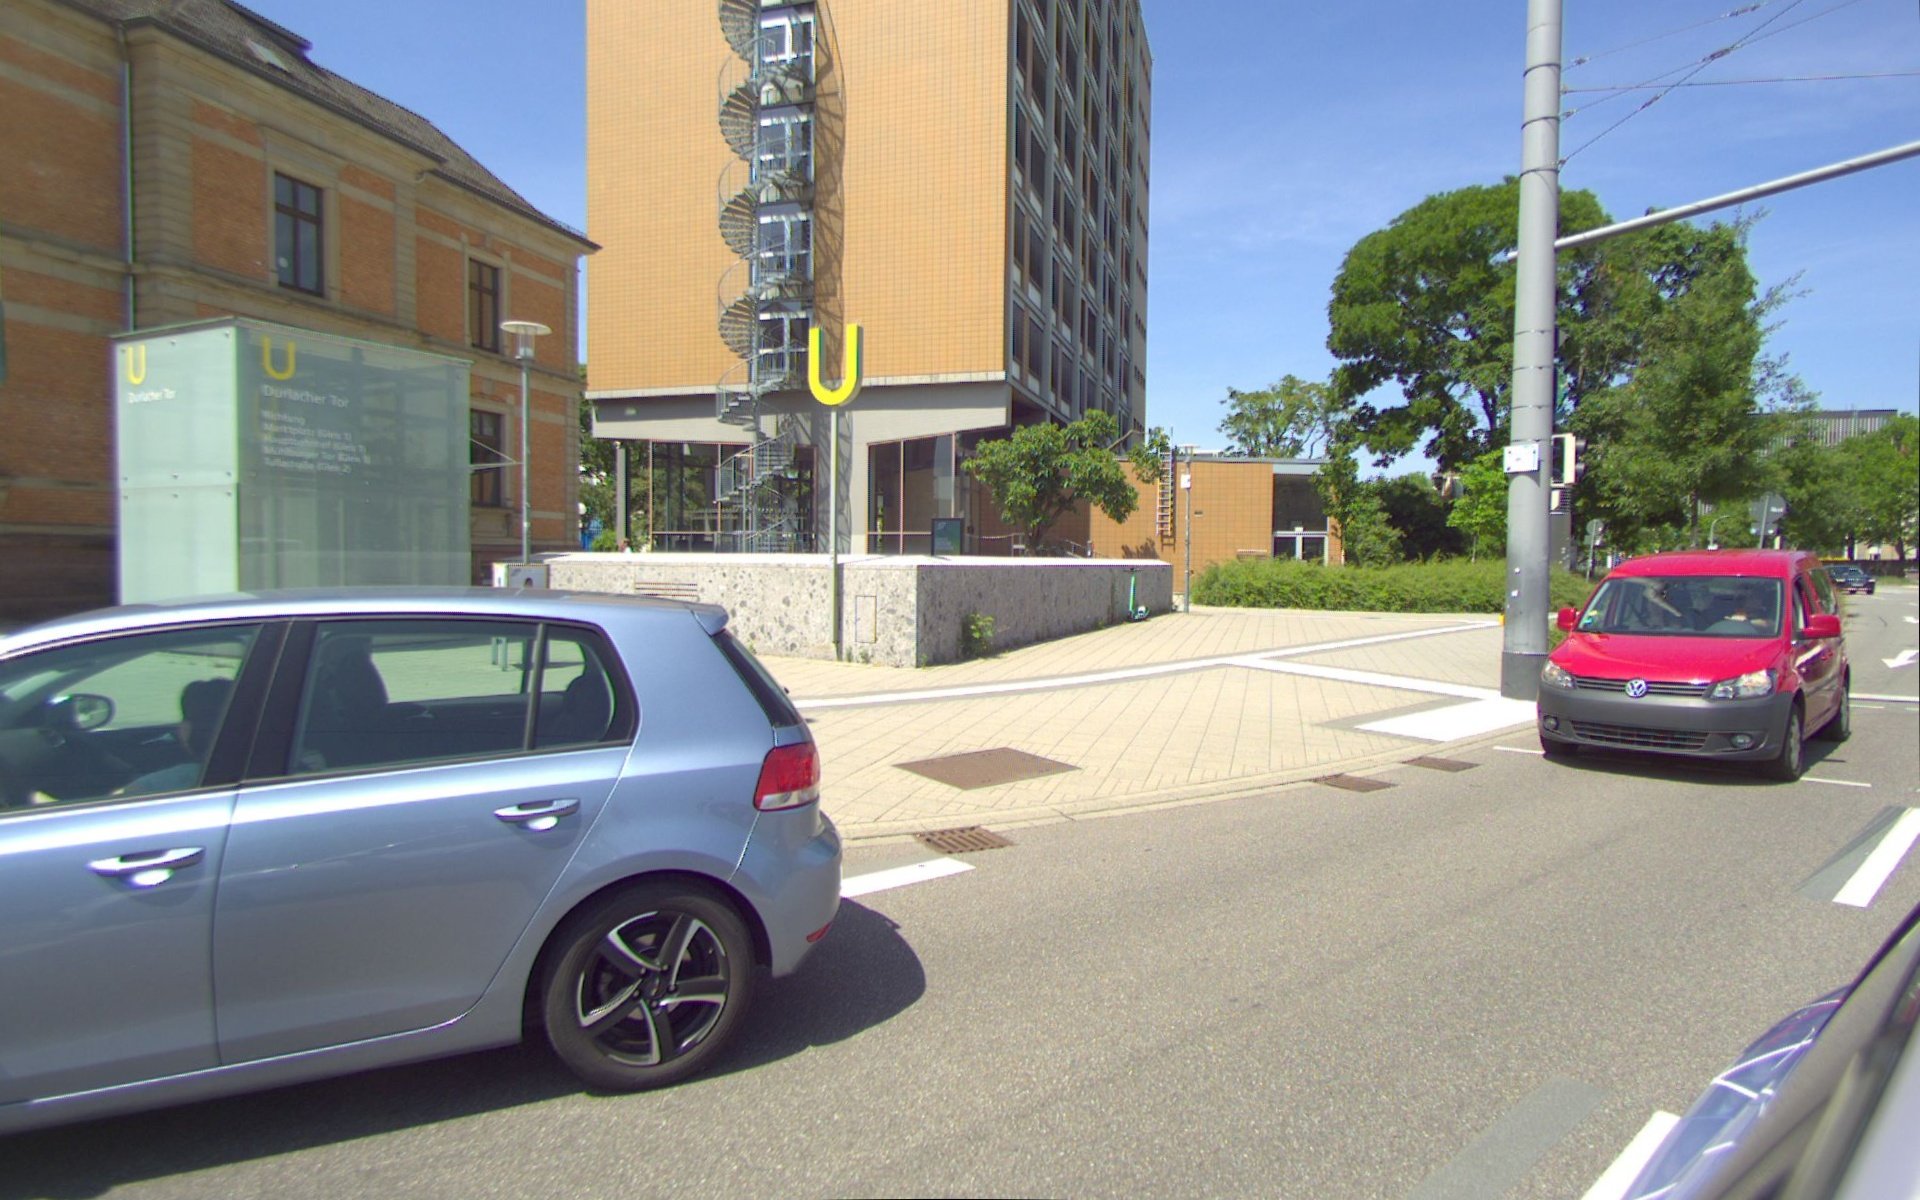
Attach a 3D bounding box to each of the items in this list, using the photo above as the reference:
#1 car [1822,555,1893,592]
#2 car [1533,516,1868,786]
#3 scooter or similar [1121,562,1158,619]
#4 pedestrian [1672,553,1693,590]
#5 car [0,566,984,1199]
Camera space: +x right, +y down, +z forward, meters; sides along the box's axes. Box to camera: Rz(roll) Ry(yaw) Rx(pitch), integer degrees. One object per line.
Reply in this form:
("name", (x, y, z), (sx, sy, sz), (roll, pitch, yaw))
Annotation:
("car", (51.328, -1.553, 57.966), (1.980, 2.038, 3.966), (1, 2, 26))
("car", (6.876, 0.282, 9.193), (4.470, 1.882, 1.653), (-2, 2, -43))
("scooter or similar", (3.886, -0.219, 21.847), (0.454, 1.185, 1.239), (1, 2, 27))
("pedestrian", (36.270, -1.445, 50.781), (0.603, 1.820, 0.728), (-1, 2, -42))
("car", (-2.053, 0.660, 3.246), (3.921, 1.477, 1.659), (-1, 1, -25))
